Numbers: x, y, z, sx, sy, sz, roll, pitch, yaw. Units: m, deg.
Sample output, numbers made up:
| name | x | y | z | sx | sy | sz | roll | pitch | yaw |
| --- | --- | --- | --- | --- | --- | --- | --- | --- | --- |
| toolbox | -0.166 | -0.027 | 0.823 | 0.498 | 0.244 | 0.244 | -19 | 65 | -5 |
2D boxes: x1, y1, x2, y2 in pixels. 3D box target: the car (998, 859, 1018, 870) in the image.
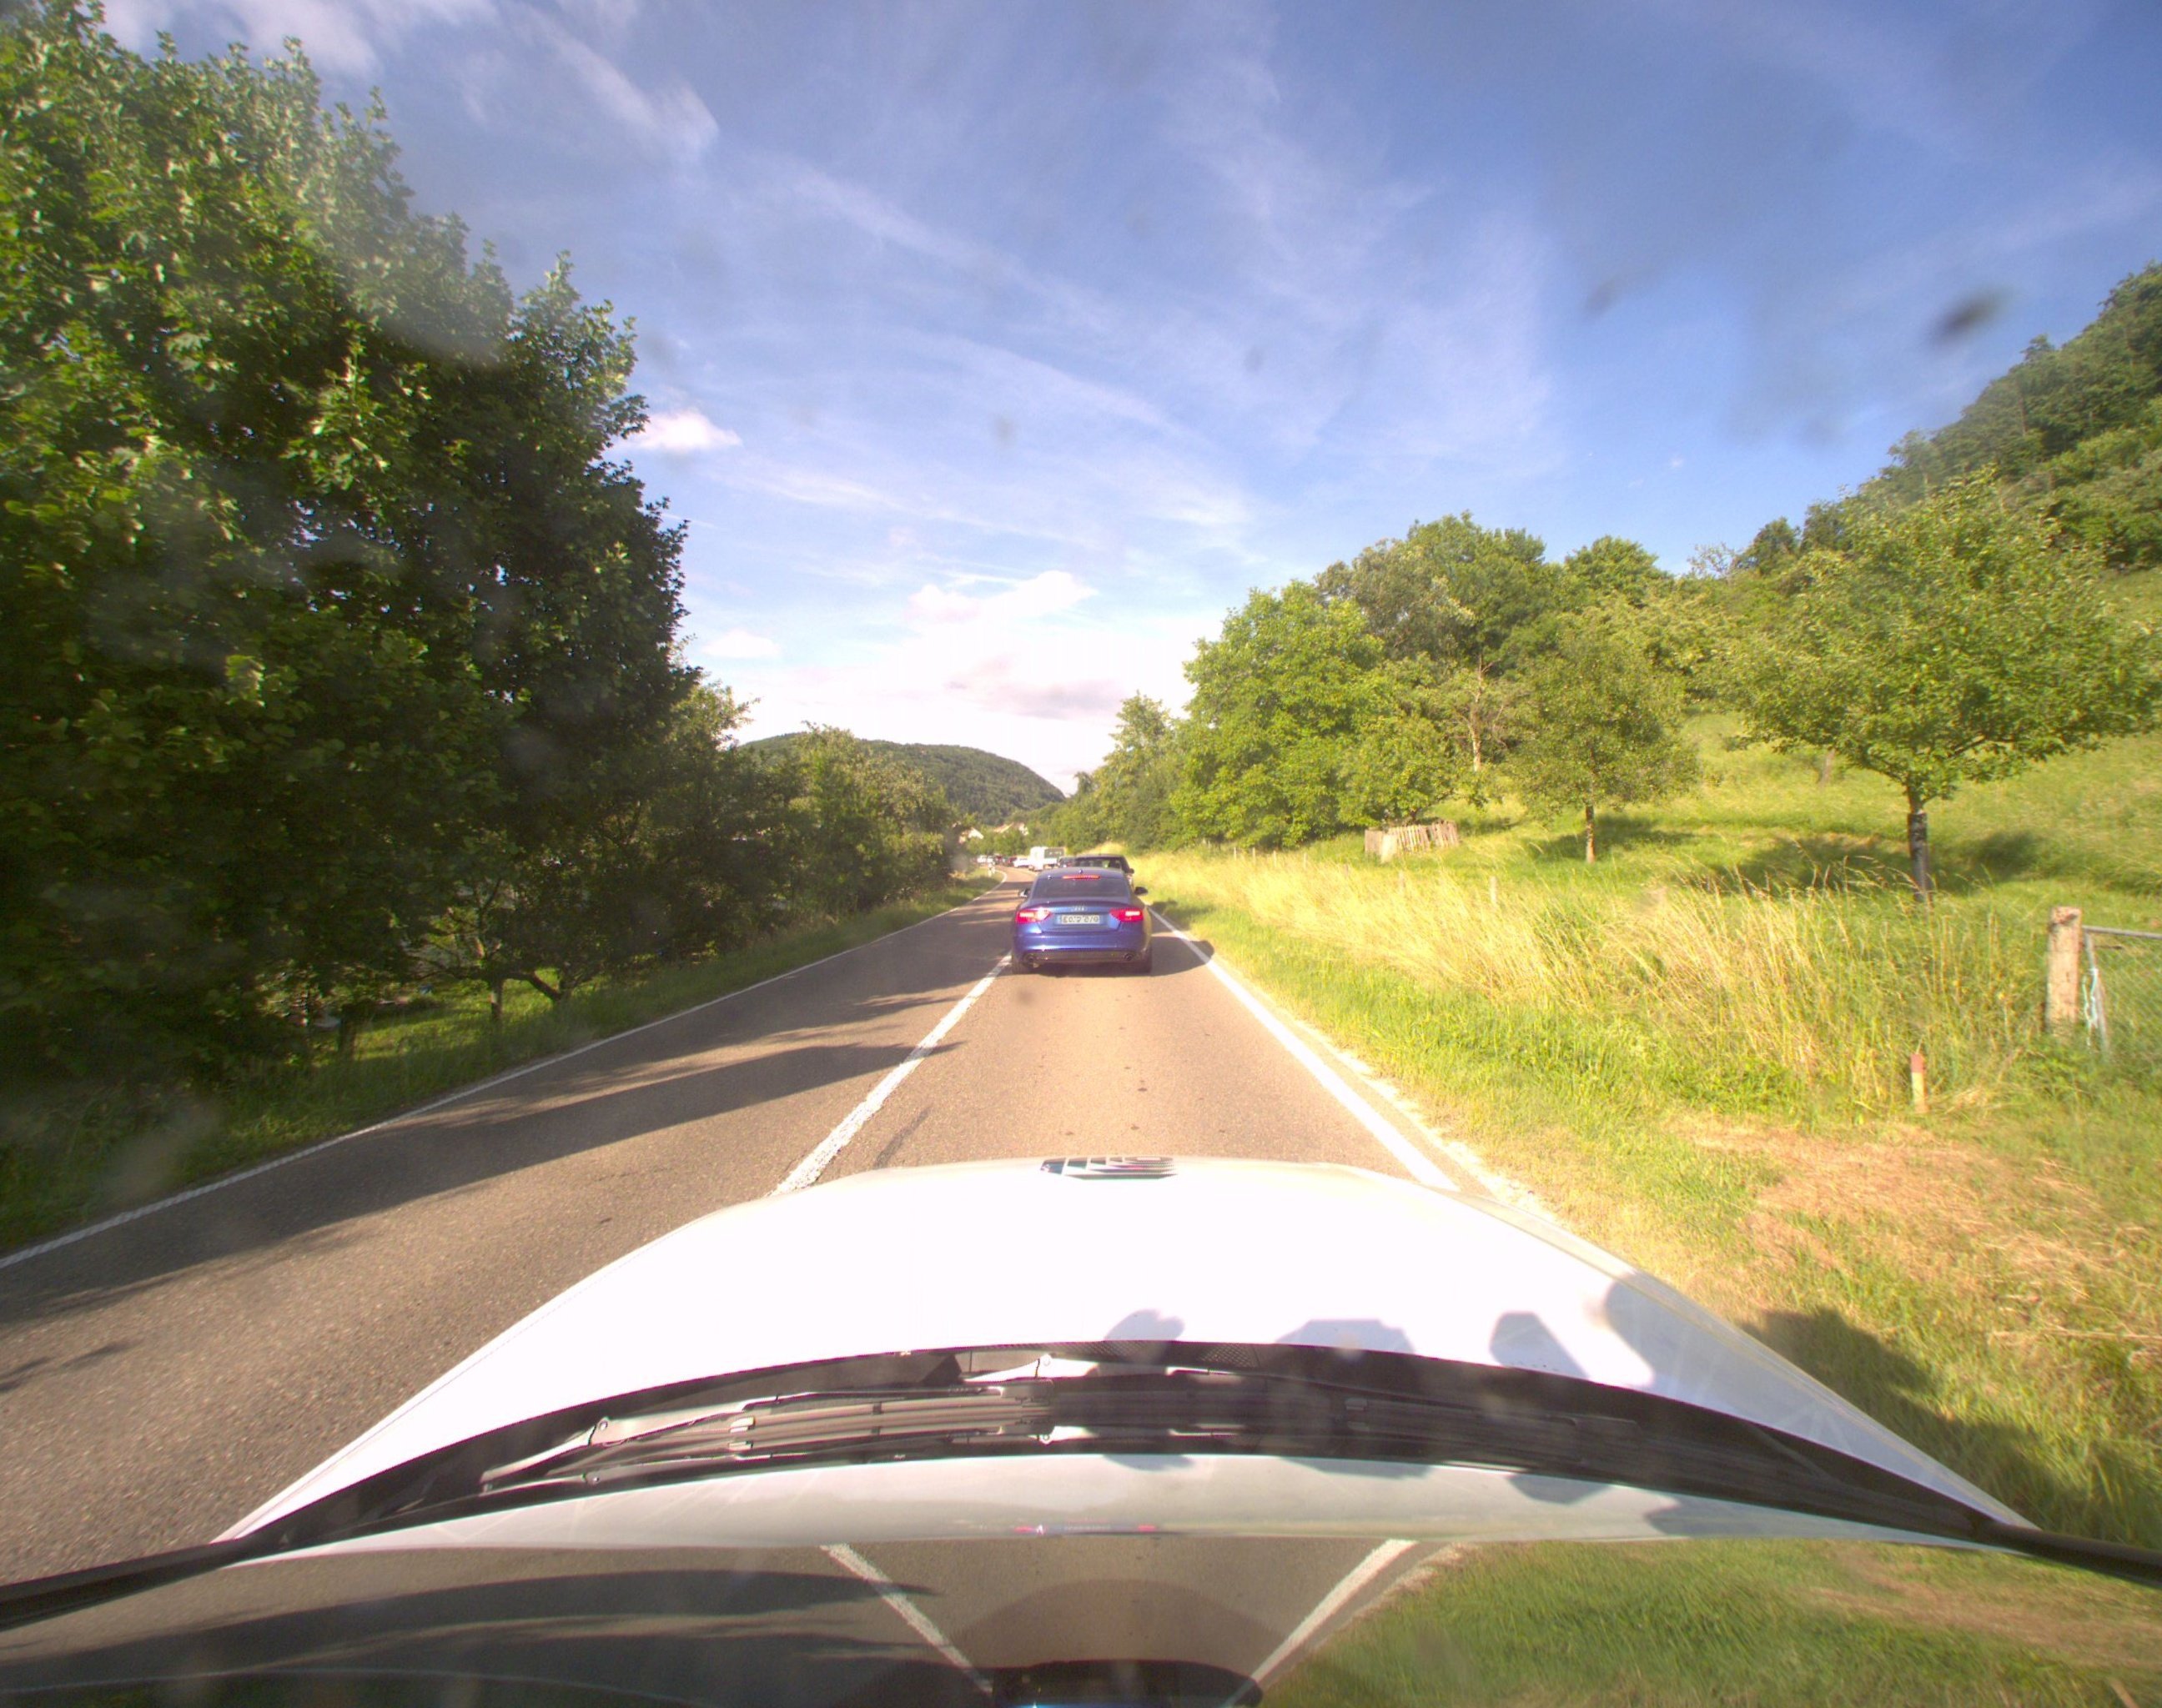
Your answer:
| name | x | y | z | sx | sy | sz | roll | pitch | yaw |
| --- | --- | --- | --- | --- | --- | --- | --- | --- | --- |
| car | -10.473 | 1.474 | 116.754 | 2.000 | 1.482 | 3.974 | 0 | -1 | -19 |

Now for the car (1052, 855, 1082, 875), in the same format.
| name | x | y | z | sx | sy | sz | roll | pitch | yaw |
| --- | --- | --- | --- | --- | --- | --- | --- | --- | --- |
| car | -1.135 | 0.884 | 63.342 | 1.991 | 1.482 | 3.991 | 0 | -1 | -6 |

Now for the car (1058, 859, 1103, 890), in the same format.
| name | x | y | z | sx | sy | sz | roll | pitch | yaw |
| --- | --- | --- | --- | --- | --- | --- | --- | --- | --- |
| car | 0.011 | 0.928 | 38.147 | 1.986 | 1.387 | 4.001 | -1 | -1 | 1 |

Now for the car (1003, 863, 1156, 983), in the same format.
| name | x | y | z | sx | sy | sz | roll | pitch | yaw |
| --- | --- | --- | --- | --- | --- | --- | --- | --- | --- |
| car | 0.056 | 0.840 | 11.662 | 1.787 | 1.360 | 4.002 | -1 | 0 | 2 |

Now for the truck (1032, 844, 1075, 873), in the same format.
| name | x | y | z | sx | sy | sz | roll | pitch | yaw |
| --- | --- | --- | --- | --- | --- | --- | --- | --- | --- |
| truck | -2.804 | 0.429 | 78.653 | 2.864 | 2.665 | 10.358 | 0 | 0 | -9 |

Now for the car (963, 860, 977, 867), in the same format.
| name | x | y | z | sx | sy | sz | roll | pitch | yaw |
| --- | --- | --- | --- | --- | --- | --- | --- | --- | --- |
| car | -23.027 | 1.986 | 169.054 | 2.001 | 1.482 | 3.971 | 0 | -1 | -21 |

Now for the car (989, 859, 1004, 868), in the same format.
| name | x | y | z | sx | sy | sz | roll | pitch | yaw |
| --- | --- | --- | --- | --- | --- | --- | --- | --- | --- |
| car | -14.264 | 1.547 | 137.563 | 1.997 | 1.482 | 3.979 | 0 | -1 | -15 |

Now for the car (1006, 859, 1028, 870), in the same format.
| name | x | y | z | sx | sy | sz | roll | pitch | yaw |
| --- | --- | --- | --- | --- | --- | --- | --- | --- | --- |
| car | -8.564 | 1.378 | 109.370 | 2.000 | 1.482 | 3.974 | 0 | -1 | -19 |

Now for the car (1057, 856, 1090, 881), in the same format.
| name | x | y | z | sx | sy | sz | roll | pitch | yaw |
| --- | --- | --- | --- | --- | --- | --- | --- | --- | --- |
| car | -0.423 | 0.906 | 51.694 | 1.986 | 1.482 | 4.001 | -1 | -1 | 1 |

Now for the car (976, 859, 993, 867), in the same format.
| name | x | y | z | sx | sy | sz | roll | pitch | yaw |
| --- | --- | --- | --- | --- | --- | --- | --- | --- | --- |
| car | -17.338 | 1.670 | 146.335 | 2.001 | 1.482 | 3.971 | 0 | -1 | -21 |

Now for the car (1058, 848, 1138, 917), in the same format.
| name | x | y | z | sx | sy | sz | roll | pitch | yaw |
| --- | --- | --- | --- | --- | --- | --- | --- | --- | --- |
| car | 0.478 | 0.735 | 22.338 | 1.986 | 1.702 | 4.001 | -1 | -1 | 1 |

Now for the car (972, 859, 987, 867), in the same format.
| name | x | y | z | sx | sy | sz | roll | pitch | yaw |
| --- | --- | --- | --- | --- | --- | --- | --- | --- | --- |
| car | -19.466 | 1.798 | 156.002 | 2.001 | 1.482 | 3.971 | 0 | -1 | -21 |

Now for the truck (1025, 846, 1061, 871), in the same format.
| name | x | y | z | sx | sy | sz | roll | pitch | yaw |
| --- | --- | --- | --- | --- | --- | --- | --- | --- | --- |
| truck | -4.422 | 0.548 | 92.299 | 2.864 | 2.665 | 10.609 | 0 | 0 | -9 |
